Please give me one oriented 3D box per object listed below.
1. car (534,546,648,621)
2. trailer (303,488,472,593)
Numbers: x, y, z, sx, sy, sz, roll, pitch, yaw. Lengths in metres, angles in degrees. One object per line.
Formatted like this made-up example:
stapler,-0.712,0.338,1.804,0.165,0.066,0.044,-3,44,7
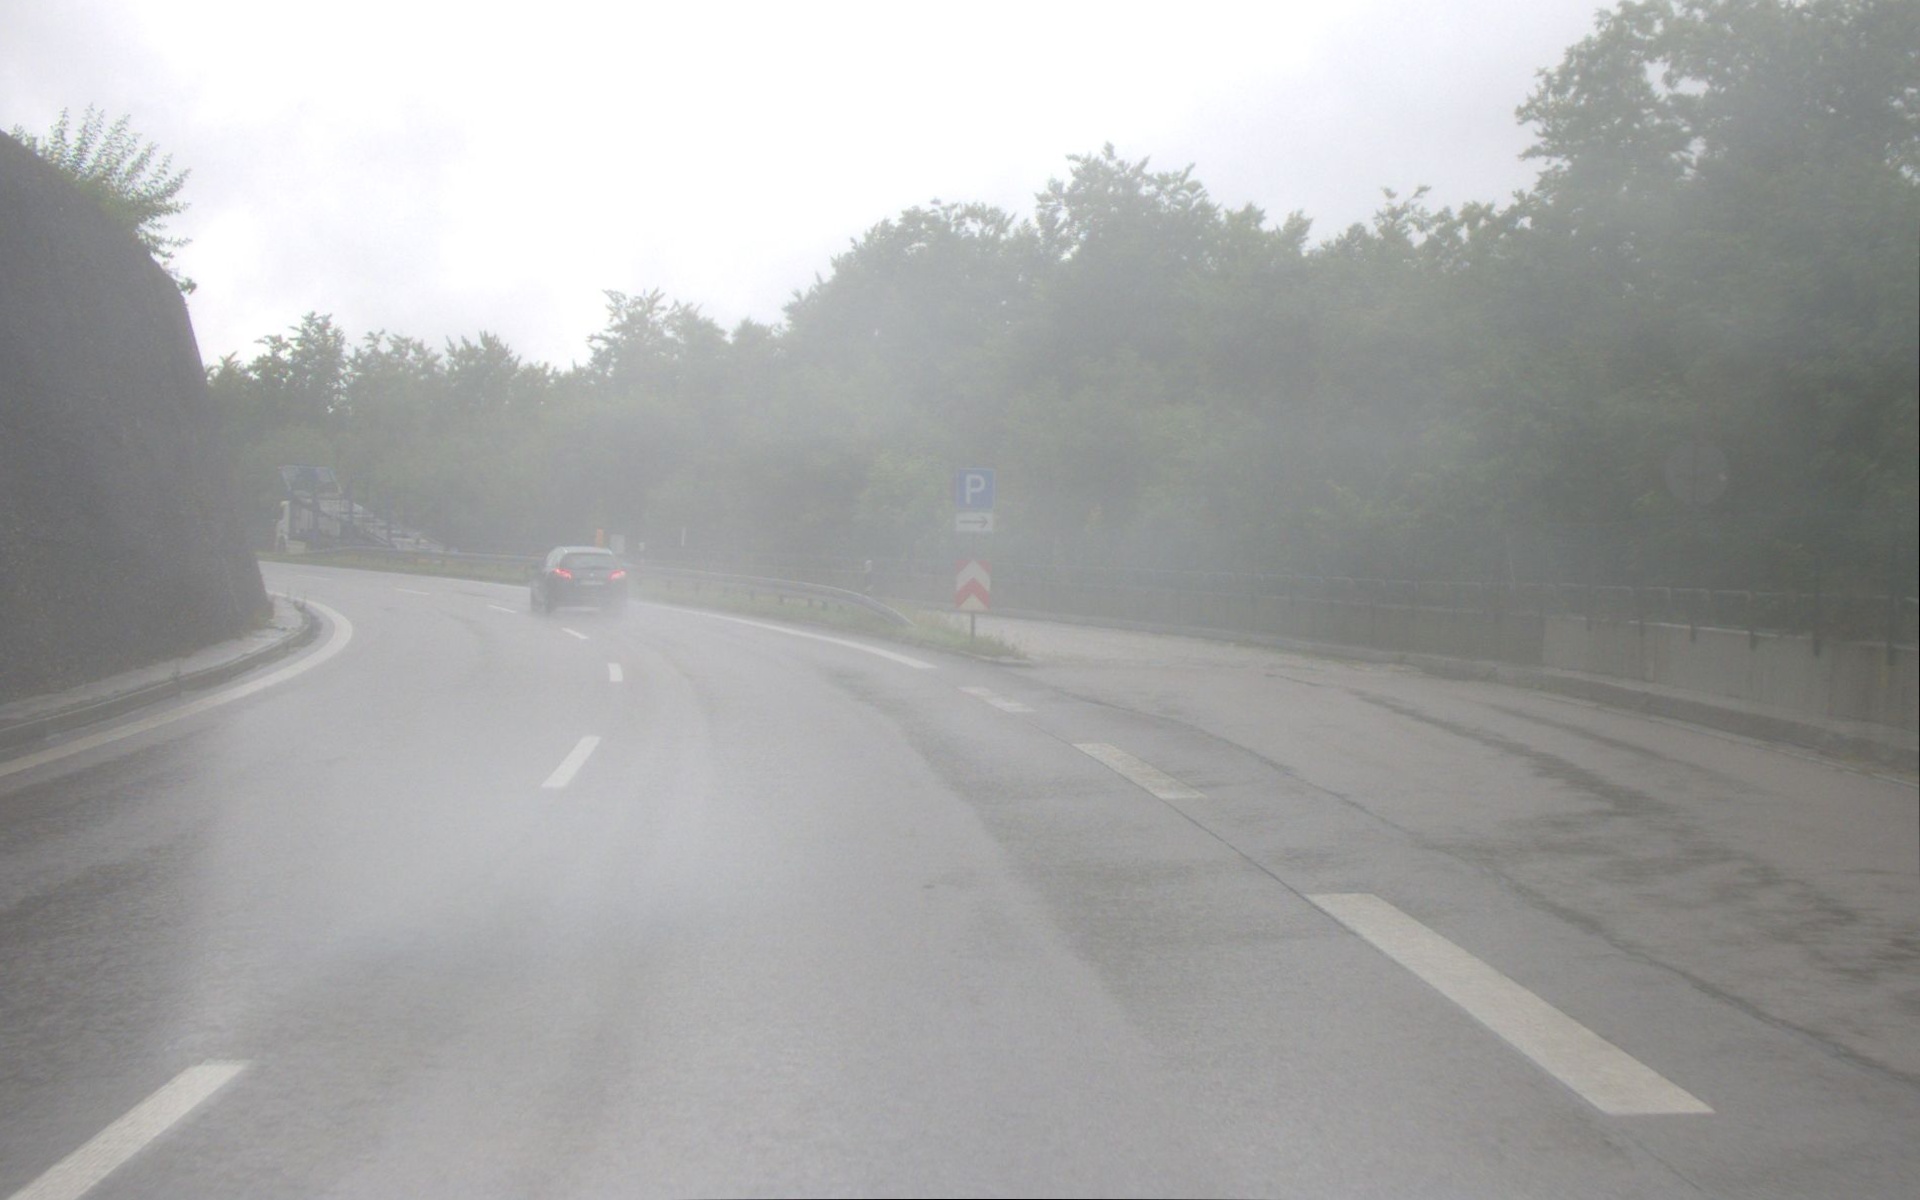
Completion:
car,-8.175,-0.381,75.901,1.903,1.494,4.001,3,1,-14
trailer,-24.487,-2.605,146.183,2.892,4.230,14.701,1,1,-26
